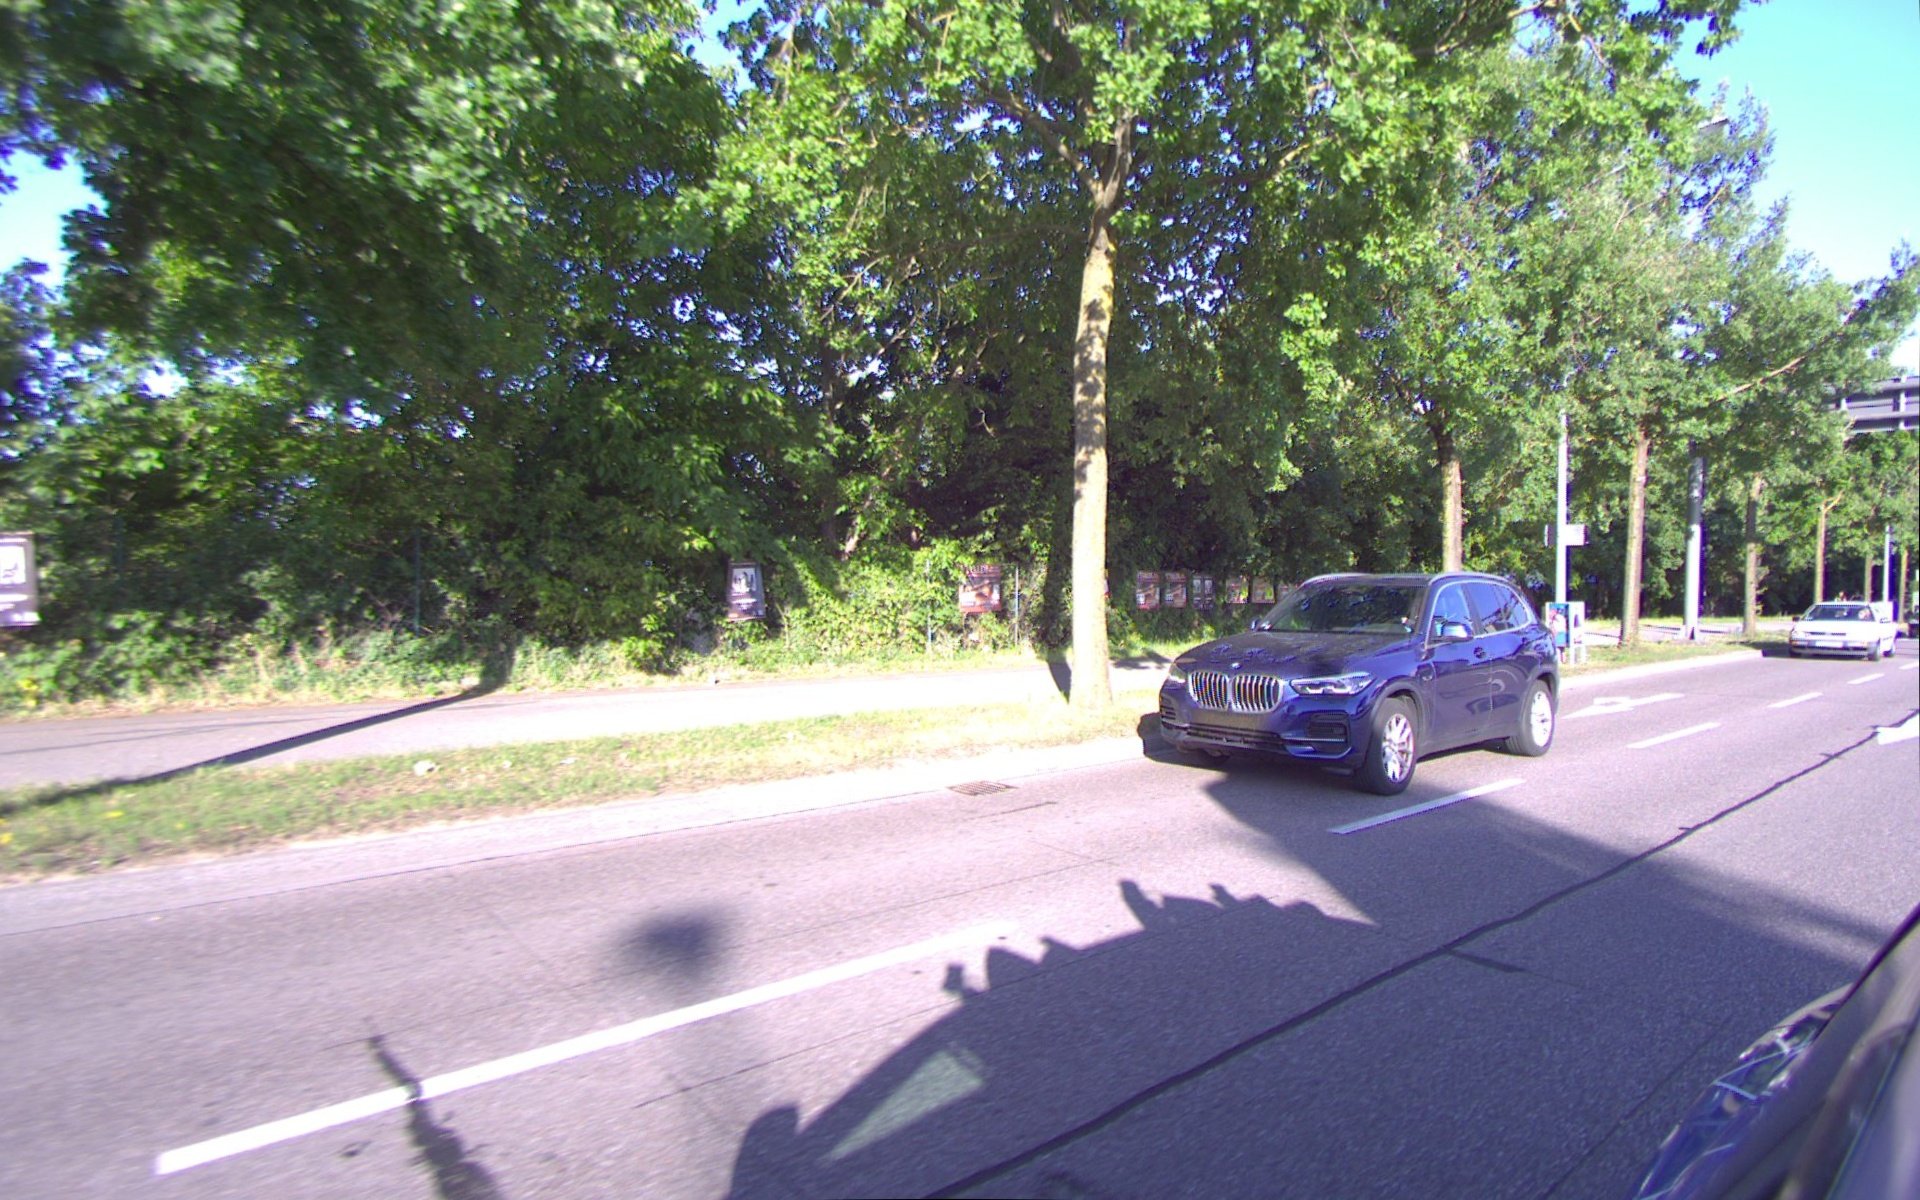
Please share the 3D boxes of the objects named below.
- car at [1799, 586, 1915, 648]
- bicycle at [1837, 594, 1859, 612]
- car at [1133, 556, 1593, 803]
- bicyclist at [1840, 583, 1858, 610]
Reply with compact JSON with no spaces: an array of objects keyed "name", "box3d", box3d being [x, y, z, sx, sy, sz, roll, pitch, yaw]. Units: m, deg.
[{"name":"car","box3d":[22.381,0.429,25.206,3.966,1.416,1.614,2,0,-40]},{"name":"bicycle","box3d":[51.526,0.156,58.700,1.788,0.986,0.618,0,1,-38]},{"name":"car","box3d":[3.891,0.539,9.387,4.614,1.748,1.959,0,1,-39]},{"name":"bicyclist","box3d":[51.691,-0.199,58.821,0.832,1.520,0.615,1,0,-38]}]
